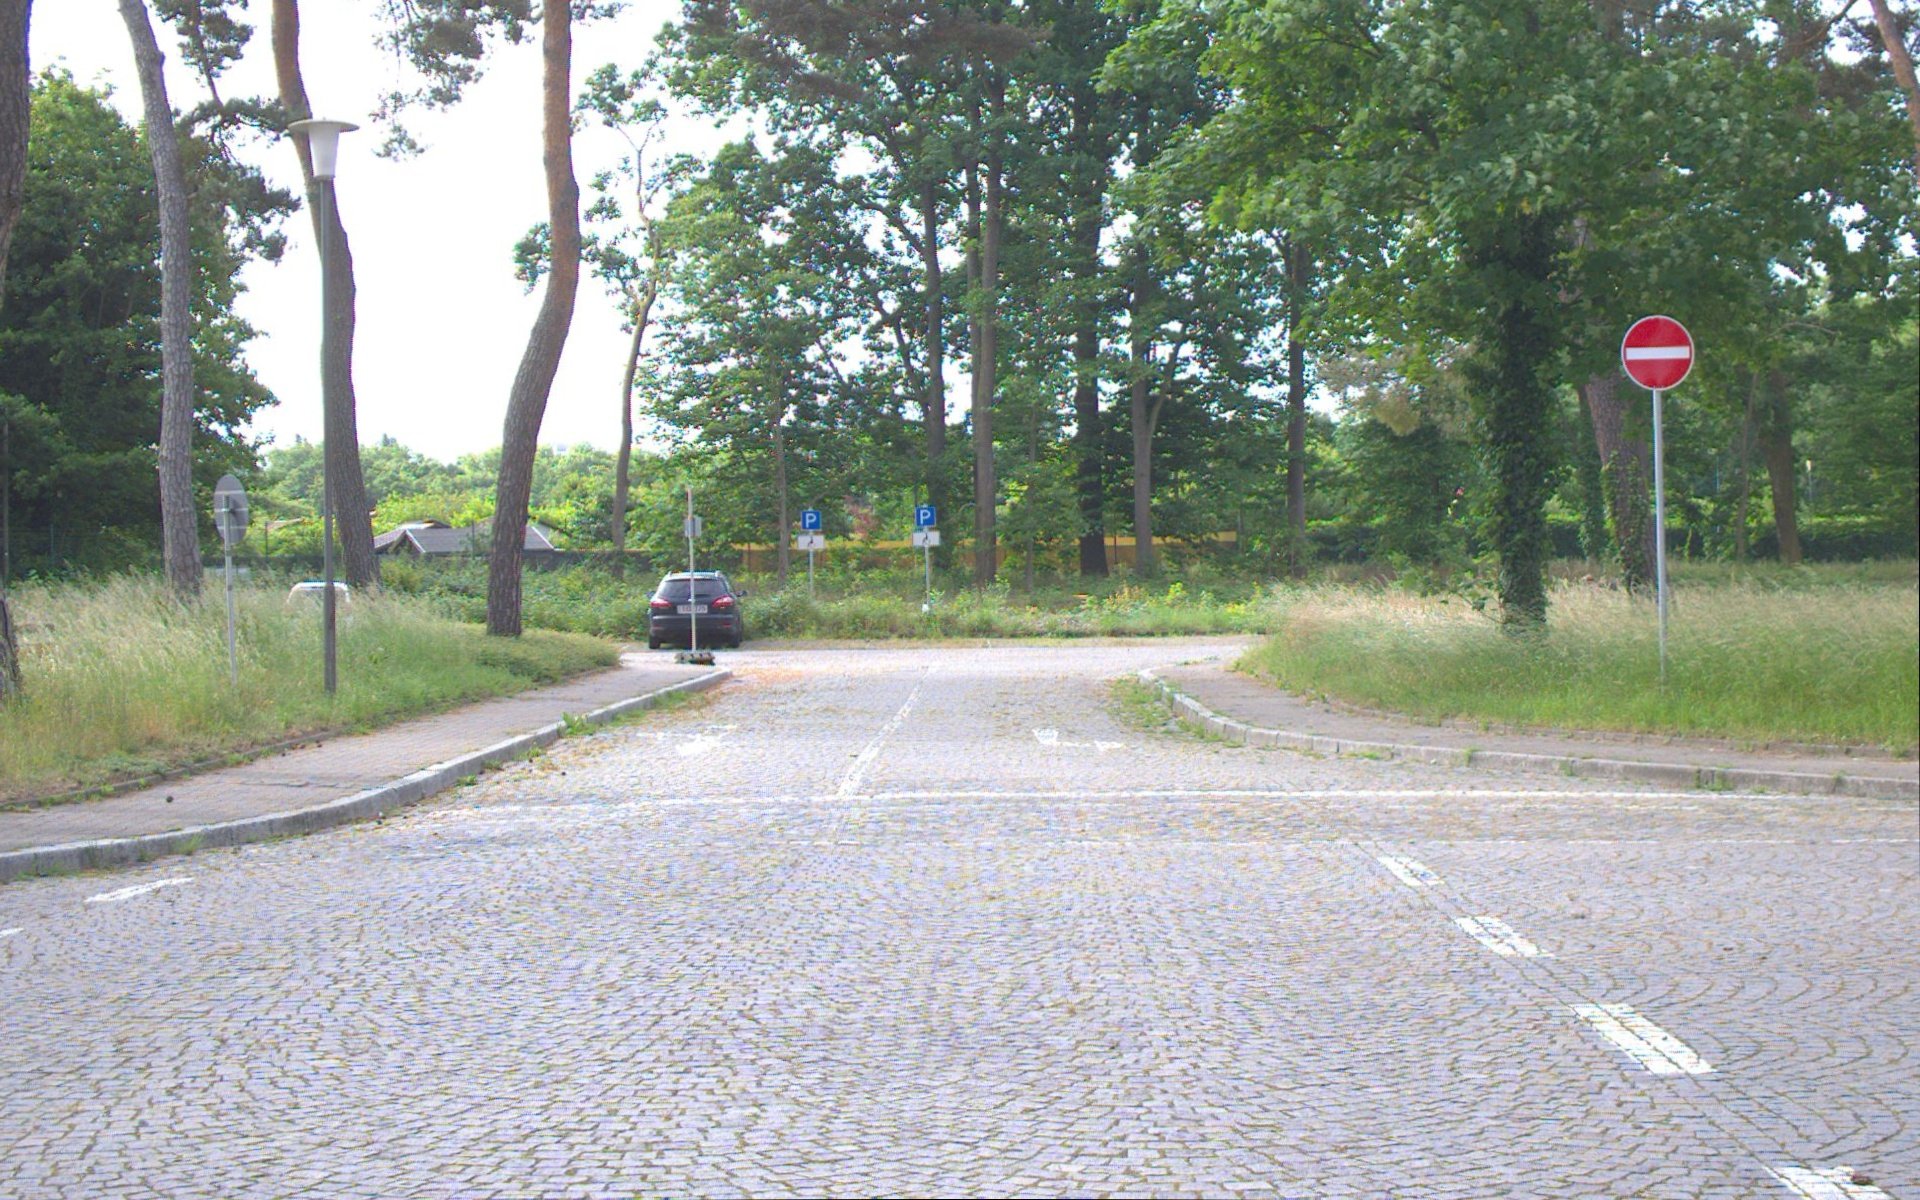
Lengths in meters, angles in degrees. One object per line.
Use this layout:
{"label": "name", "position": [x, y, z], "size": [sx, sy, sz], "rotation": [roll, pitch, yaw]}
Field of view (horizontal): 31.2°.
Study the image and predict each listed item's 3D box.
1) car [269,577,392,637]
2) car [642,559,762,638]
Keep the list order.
{"label": "car", "position": [-12.982, 0.131, 71.111], "size": [1.689, 1.152, 4.000], "rotation": [-1, 1, 2]}
{"label": "car", "position": [-5.210, -0.052, 69.776], "size": [1.993, 1.503, 4.000], "rotation": [1, 1, 2]}
